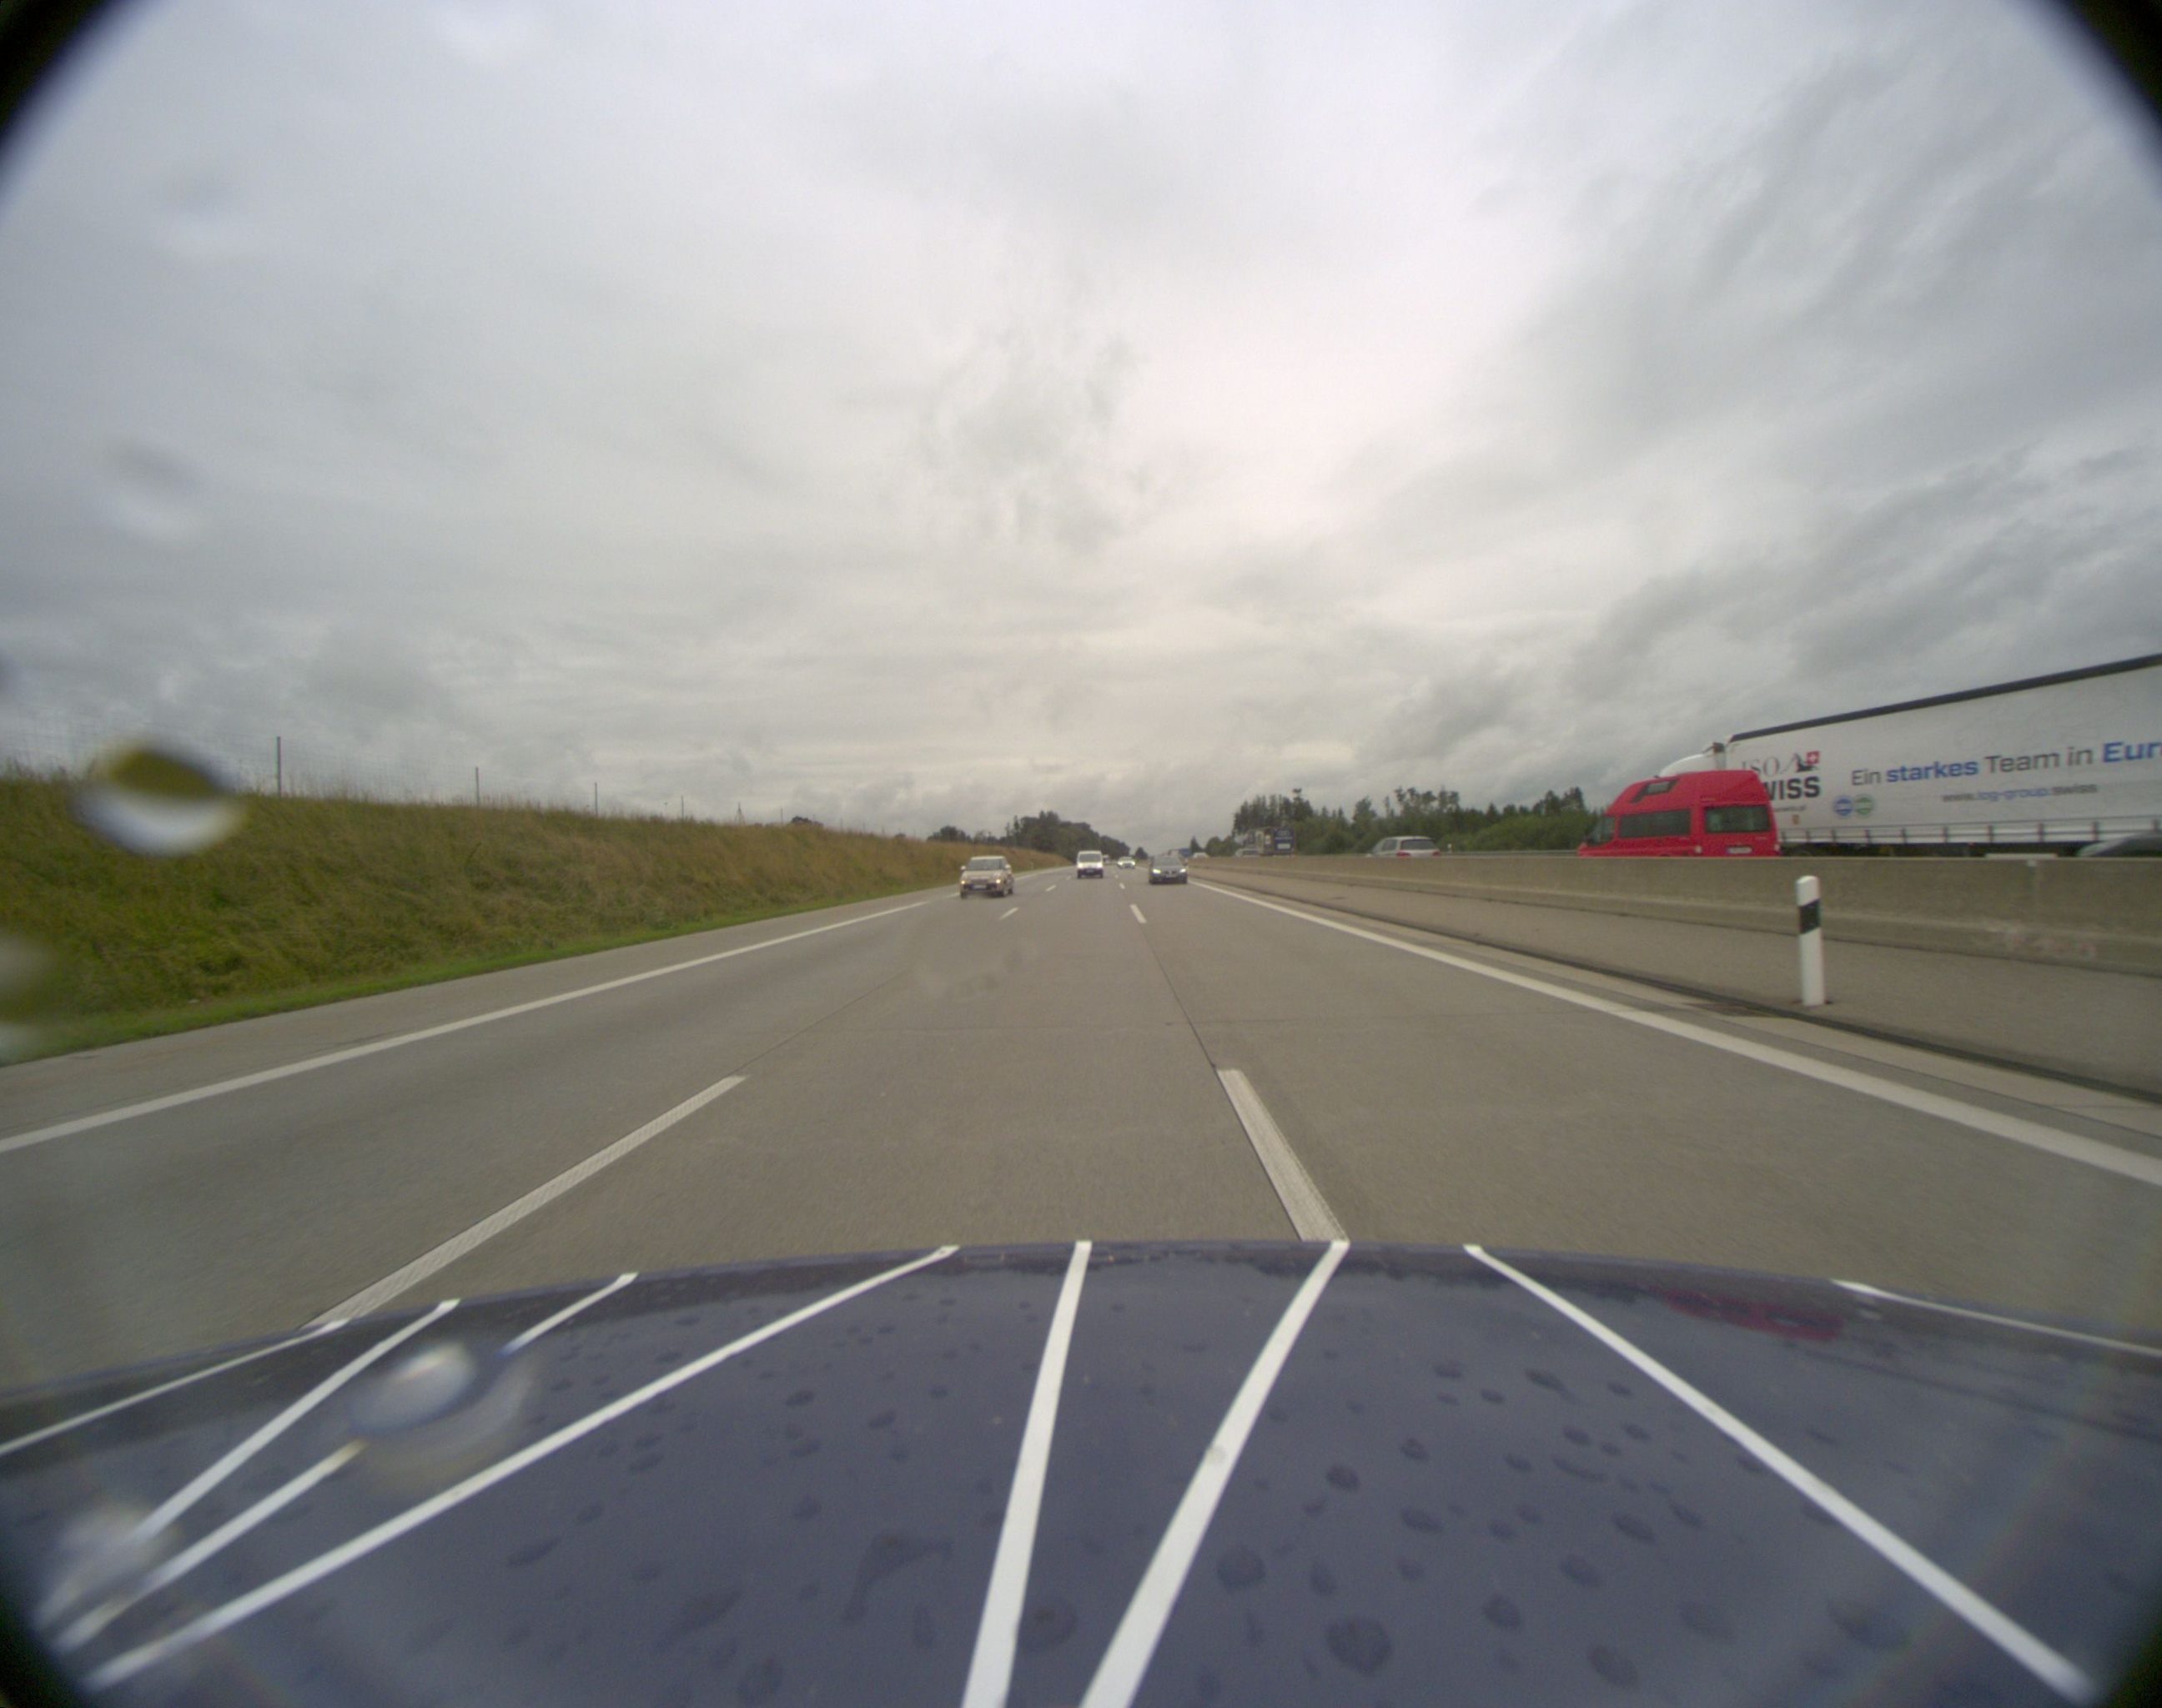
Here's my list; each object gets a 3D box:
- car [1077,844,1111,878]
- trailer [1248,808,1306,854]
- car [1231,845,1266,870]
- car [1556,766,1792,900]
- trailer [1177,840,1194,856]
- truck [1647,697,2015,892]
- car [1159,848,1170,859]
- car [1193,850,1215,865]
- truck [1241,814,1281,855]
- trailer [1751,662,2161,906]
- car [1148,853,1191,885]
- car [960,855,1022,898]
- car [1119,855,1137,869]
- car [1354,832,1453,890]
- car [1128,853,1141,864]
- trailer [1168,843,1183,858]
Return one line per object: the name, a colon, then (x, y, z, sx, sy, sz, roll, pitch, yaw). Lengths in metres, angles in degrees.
car: (0.933, 0.461, 51.235, 2.042, 2.111, 6.069, -2, 0, 3)
trailer: (22.371, -2.446, 87.775, 3.607, 4.771, 12.910, -2, 0, 2)
car: (12.926, 0.267, 58.774, 1.748, 1.755, 4.429, -2, 0, 1)
car: (14.981, -0.458, 19.755, 1.805, 2.941, 5.579, -2, 0, 1)
trailer: (26.356, -1.530, 192.189, 2.856, 3.814, 12.402, -2, 0, 3)
truck: (19.381, -1.295, 20.520, 2.890, 4.265, 7.137, -2, 0, 2)
car: (18.089, -0.114, 165.319, 1.998, 2.134, 4.864, -2, 0, 2)
car: (14.465, 0.398, 89.438, 1.998, 1.652, 4.527, -2, 0, 2)
truck: (22.594, -2.400, 95.602, 3.596, 4.790, 5.869, -2, 0, 2)
trailer: (19.203, -1.180, 13.722, 2.895, 3.979, 13.016, -2, 0, 2)
car: (4.489, 0.736, 39.076, 1.789, 1.471, 4.571, -2, 0, 2)
car: (-3.624, 0.883, 31.442, 1.789, 1.595, 4.571, -2, 0, 2)
car: (5.905, 0.967, 94.599, 2.030, 1.669, 4.321, -2, 0, 5)
car: (12.323, 0.266, 29.381, 1.805, 2.002, 4.727, -2, 0, 1)
car: (8.373, 0.698, 119.285, 1.885, 1.669, 4.320, -2, 0, 3)
trailer: (28.840, -0.940, 231.975, 3.491, 4.176, 12.932, -2, 0, 3)
